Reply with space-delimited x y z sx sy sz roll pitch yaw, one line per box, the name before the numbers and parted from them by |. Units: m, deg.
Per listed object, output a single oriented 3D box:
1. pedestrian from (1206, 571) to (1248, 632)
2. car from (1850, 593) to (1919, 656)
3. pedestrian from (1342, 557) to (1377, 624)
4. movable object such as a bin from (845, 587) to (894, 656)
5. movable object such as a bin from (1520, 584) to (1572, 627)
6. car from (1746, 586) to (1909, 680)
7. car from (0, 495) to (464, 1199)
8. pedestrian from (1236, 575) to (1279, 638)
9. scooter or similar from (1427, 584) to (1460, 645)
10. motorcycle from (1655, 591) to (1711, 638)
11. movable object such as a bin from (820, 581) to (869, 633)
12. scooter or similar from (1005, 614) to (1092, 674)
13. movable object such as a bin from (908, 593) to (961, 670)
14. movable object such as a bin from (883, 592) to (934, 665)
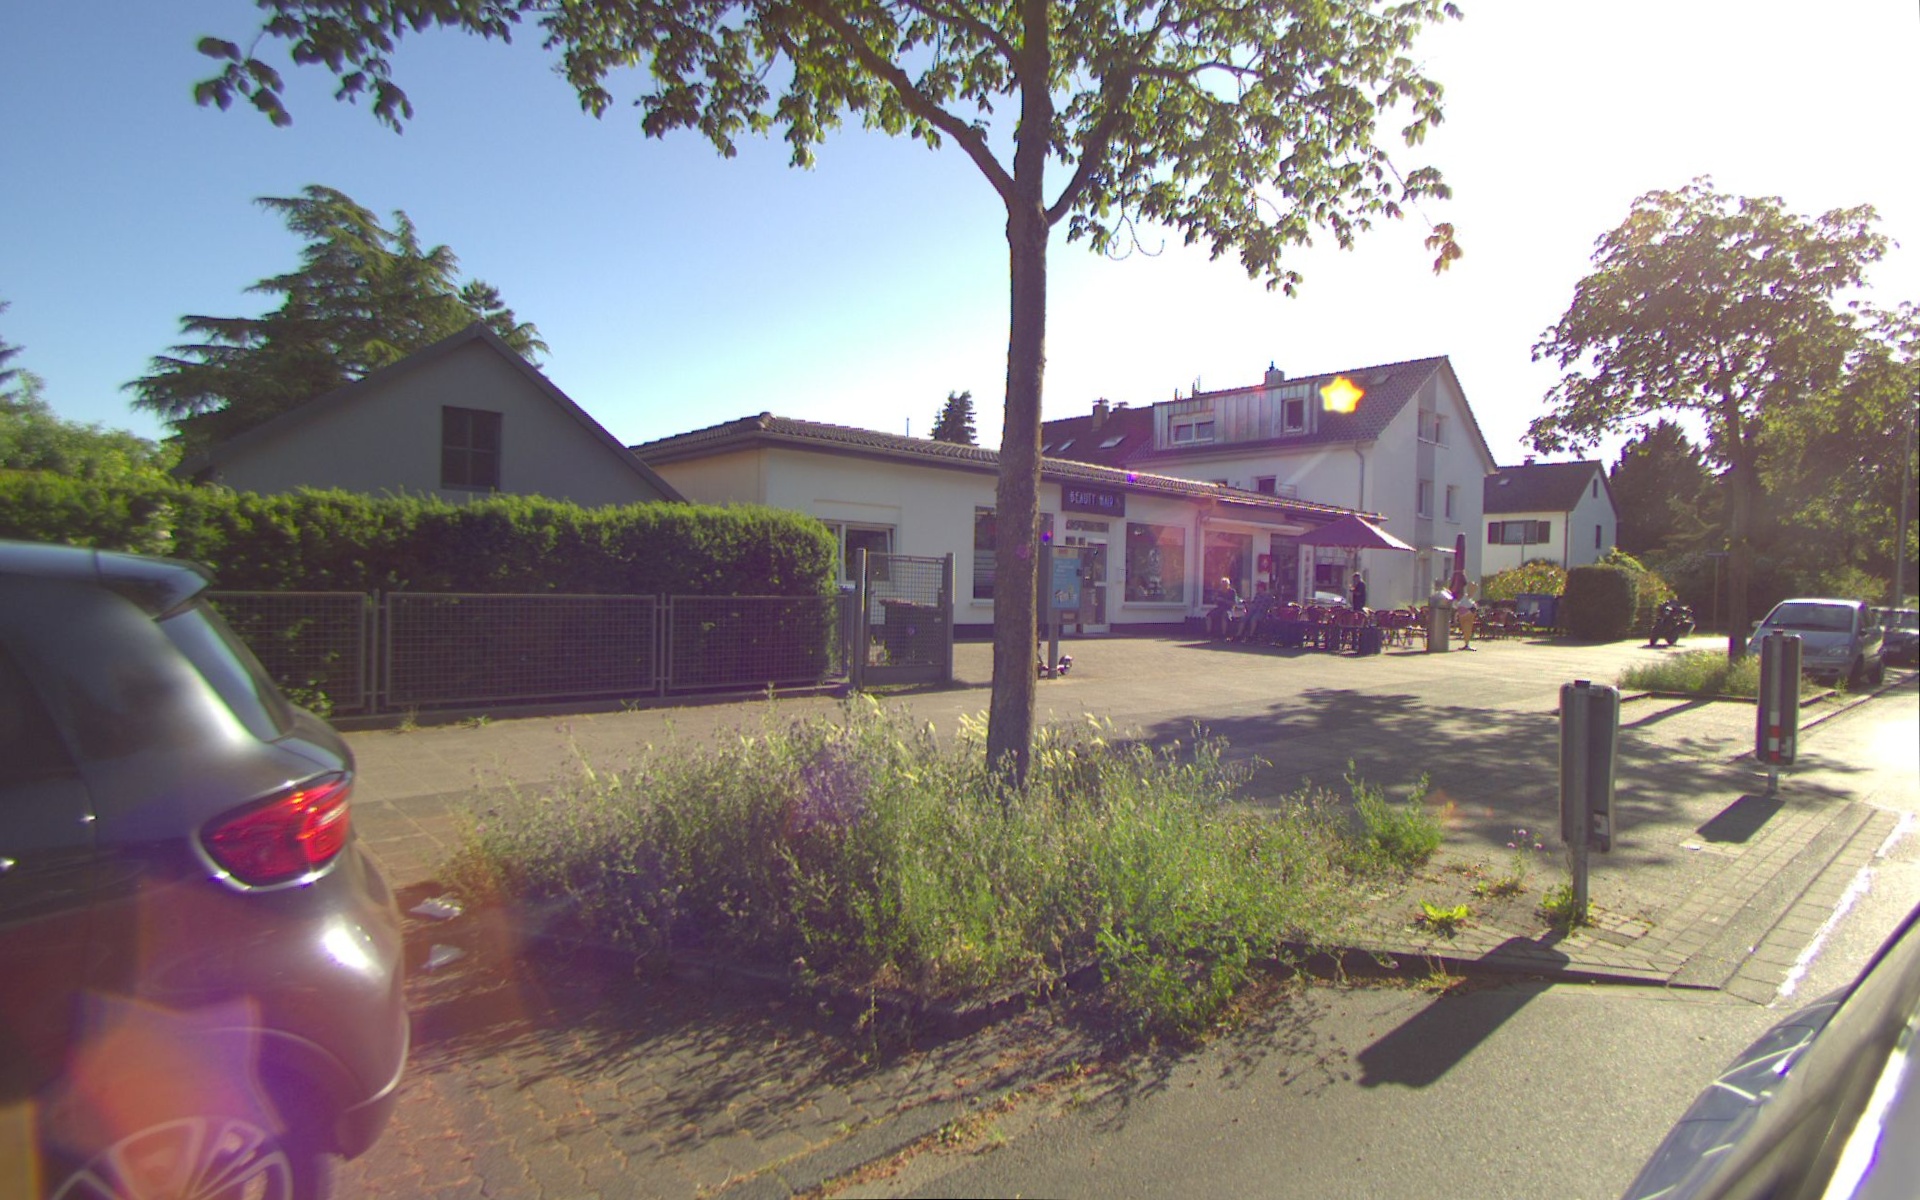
pedestrian | 6.105 0.031 23.142 0.564 1.338 0.641 0 5 -41
car | 24.524 0.616 26.244 3.791 1.500 1.731 1 1 -42
pedestrian | 11.252 -0.267 28.495 0.722 1.831 0.671 0 0 -41
movable object such as a bin | -1.298 0.301 14.497 0.518 0.941 0.459 0 3 -43
movable object such as a bin | 18.823 0.146 32.509 0.913 1.310 1.171 -1 3 -42
car | 16.952 0.571 19.732 3.788 1.596 1.733 0 2 -39
car | -2.889 0.570 1.553 3.539 1.593 1.496 0 4 -42
pedestrian | 6.626 0.132 22.533 0.564 1.338 0.641 0 5 -41
scooter or similar | 10.621 0.314 22.230 0.502 1.311 0.454 3 2 45
motorcycle | 20.577 0.397 28.791 2.306 1.270 0.837 -1 1 -43
movable object such as a bin | -1.691 0.096 14.815 0.518 0.727 0.459 -1 3 -43
scooter or similar | 1.226 0.587 13.909 1.208 0.725 0.450 -1 6 -43
movable object such as a bin | -0.340 0.411 13.583 0.518 0.988 0.459 0 3 -43
movable object such as a bin | -0.708 0.381 13.931 0.518 0.941 0.459 0 3 -43
